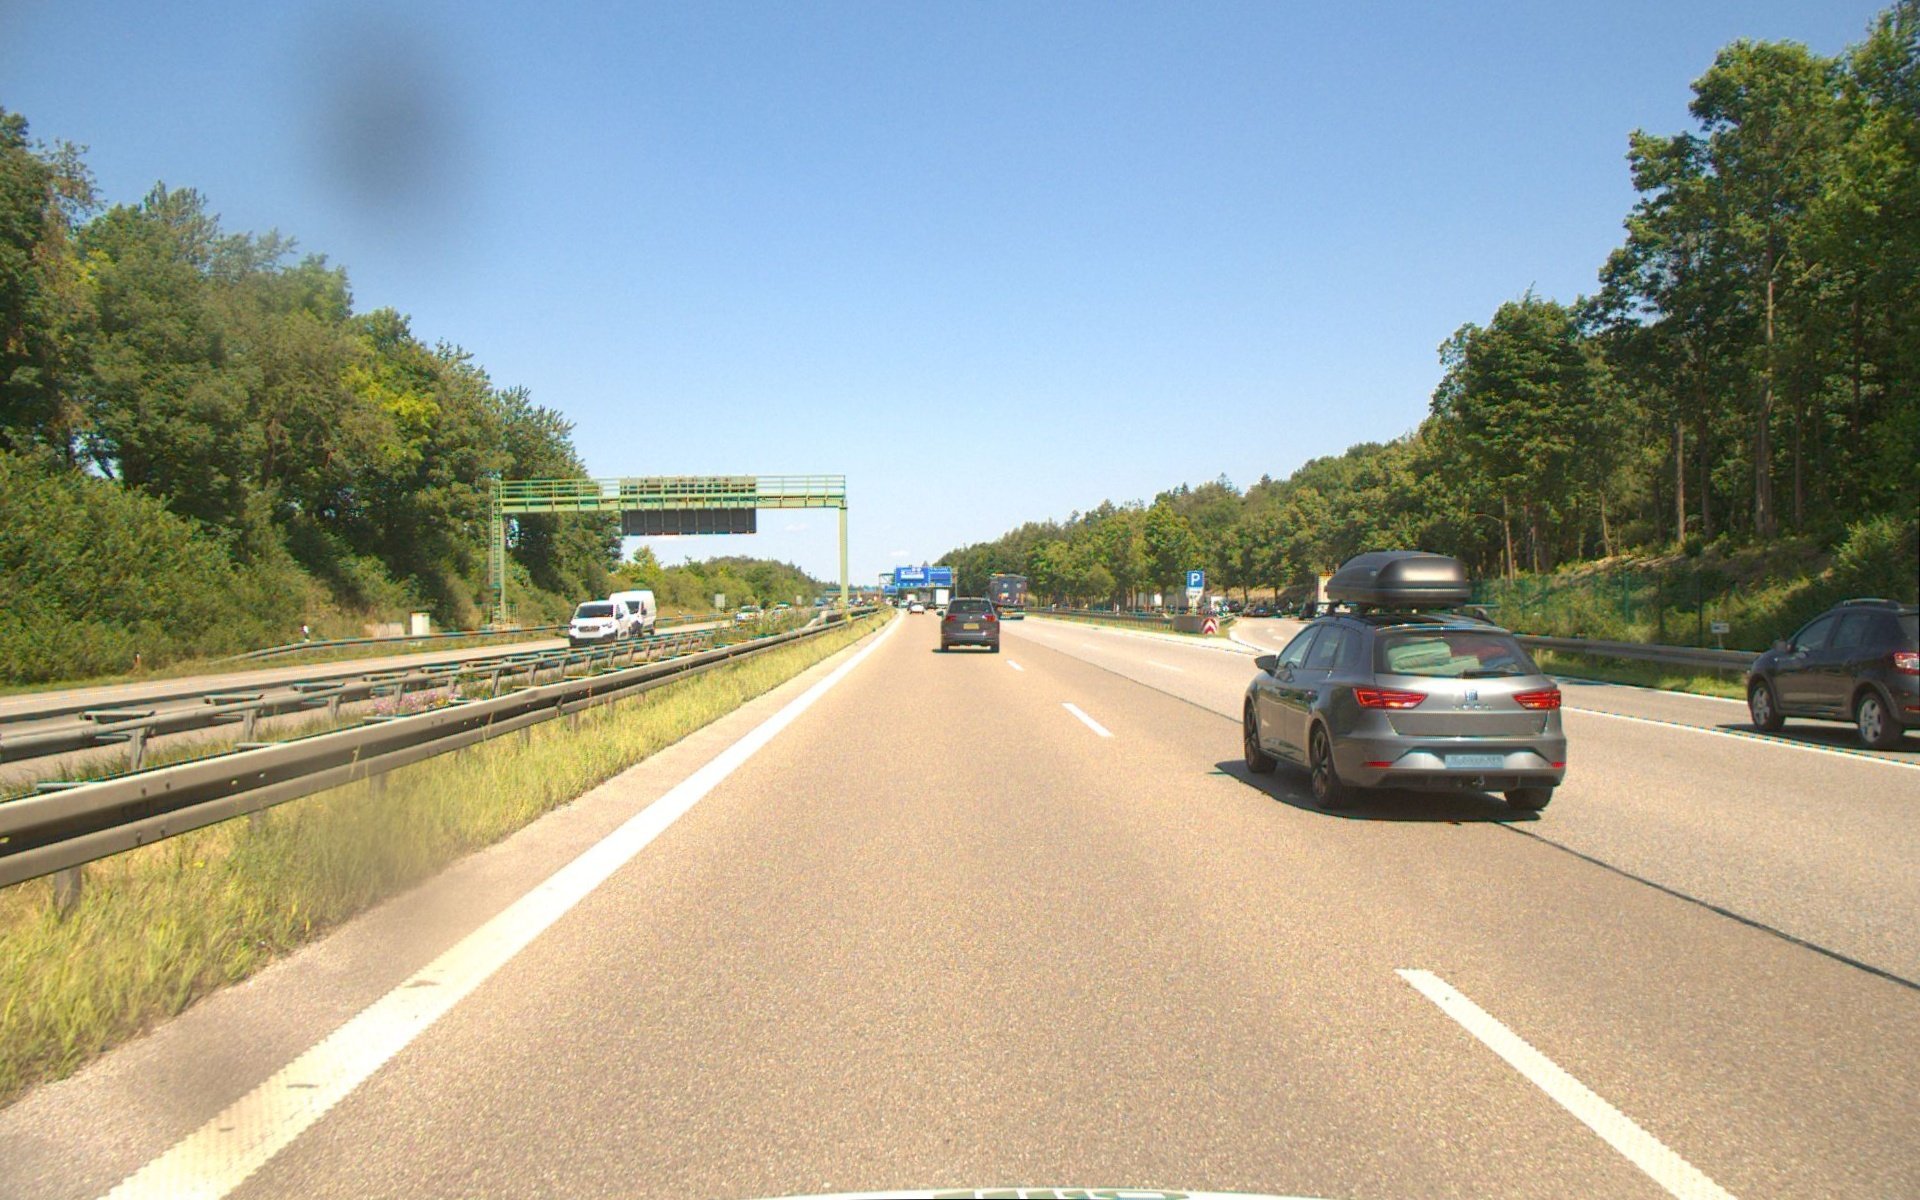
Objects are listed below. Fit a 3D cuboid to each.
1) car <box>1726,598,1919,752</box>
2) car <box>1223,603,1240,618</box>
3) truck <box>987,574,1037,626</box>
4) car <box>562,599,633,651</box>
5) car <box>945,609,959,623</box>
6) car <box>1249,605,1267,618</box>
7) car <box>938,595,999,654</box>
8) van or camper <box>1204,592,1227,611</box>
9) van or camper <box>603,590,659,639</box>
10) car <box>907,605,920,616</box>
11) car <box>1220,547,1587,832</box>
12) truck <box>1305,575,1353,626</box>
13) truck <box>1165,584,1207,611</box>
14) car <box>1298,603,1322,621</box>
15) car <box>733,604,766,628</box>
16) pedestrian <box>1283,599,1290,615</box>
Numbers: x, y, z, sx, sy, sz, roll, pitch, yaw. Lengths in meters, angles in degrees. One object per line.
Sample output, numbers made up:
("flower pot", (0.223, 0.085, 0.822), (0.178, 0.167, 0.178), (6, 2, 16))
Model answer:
("car", (10.700, 0.787, 19.177), (1.728, 1.595, 4.259), (1, 0, 1))
("car", (35.226, 1.342, 214.947), (1.621, 1.910, 4.801), (0, 0, 2))
("truck", (4.602, 0.060, 149.897), (3.704, 4.500, 14.045), (0, 0, -2))
("car", (-14.178, 0.948, 64.967), (1.710, 1.862, 5.167), (-2, 0, -1))
("car", (-0.850, 1.650, 175.146), (1.441, 1.422, 3.409), (2, 0, -2))
("car", (35.844, 1.370, 198.950), (1.951, 1.601, 4.003), (0, 0, 7))
("car", (0.296, 0.714, 50.632), (1.762, 1.698, 4.259), (1, 0, 1))
("van or camper", (35.189, 0.256, 227.776), (2.159, 2.575, 5.873), (0, 0, -2))
("van or camper", (-18.649, 0.787, 94.086), (1.997, 2.604, 6.196), (-2, 0, -1))
("car", (-5.464, 1.195, 194.399), (1.441, 1.249, 3.409), (0, 0, -2))
("car", (3.414, 0.606, 13.710), (1.631, 1.909, 4.826), (-1, 0, -1))
("truck", (30.398, 0.039, 136.561), (3.215, 4.016, 9.358), (-1, 0, 9))
("truck", (33.939, -0.326, 248.780), (2.938, 4.000, 14.440), (0, 0, -6))
("car", (33.876, 1.156, 160.187), (1.951, 1.680, 4.321), (-1, 0, 7))
("car", (-15.780, 1.183, 124.075), (1.840, 1.638, 5.308), (-2, 0, -1))
("pedestrian", (36.860, 0.790, 186.550), (0.781, 1.813, 0.643), (-1, 0, 11))
